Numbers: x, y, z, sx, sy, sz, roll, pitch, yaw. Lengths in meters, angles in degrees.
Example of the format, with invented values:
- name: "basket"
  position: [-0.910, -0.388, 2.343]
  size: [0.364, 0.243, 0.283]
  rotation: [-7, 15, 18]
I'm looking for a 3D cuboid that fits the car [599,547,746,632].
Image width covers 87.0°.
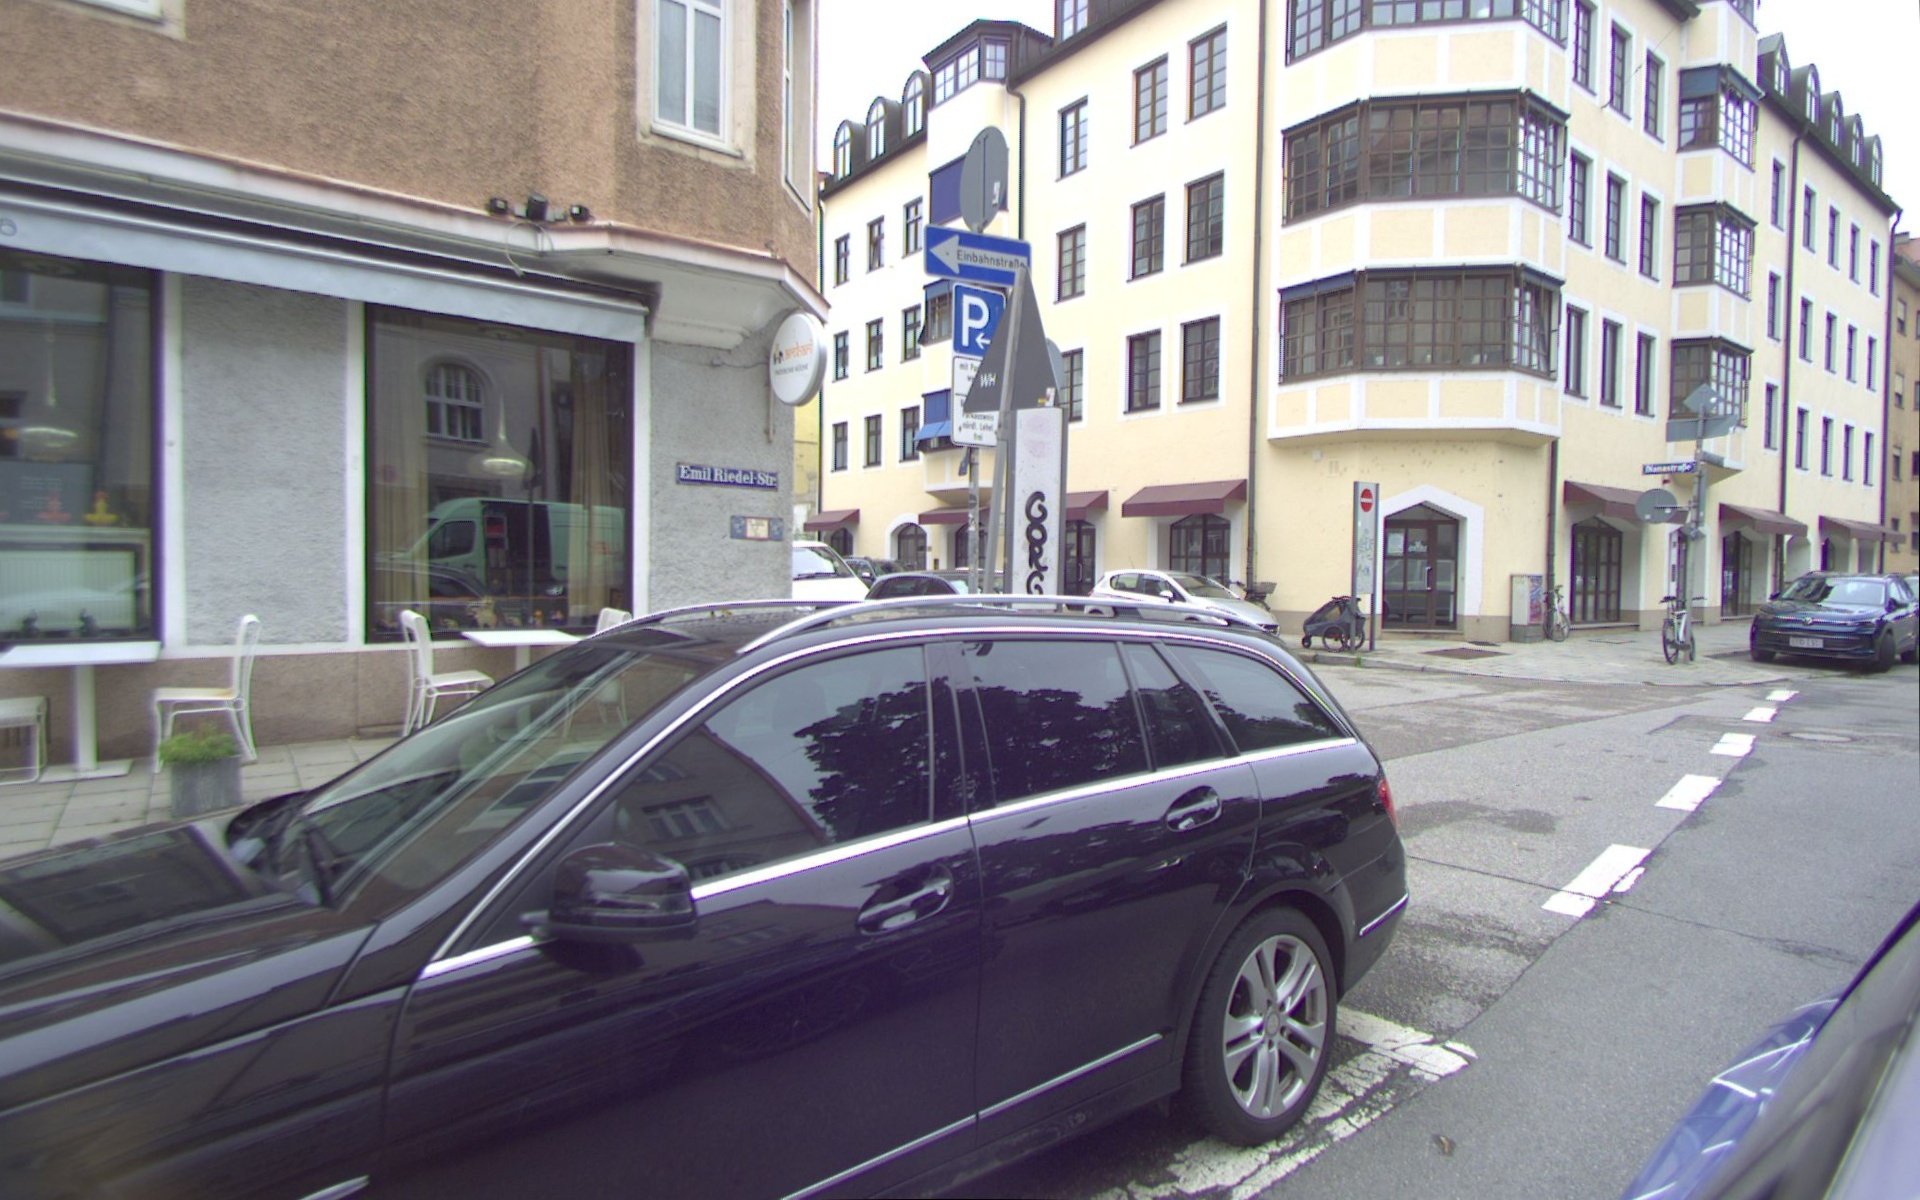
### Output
- name: "car"
  position: [-6.470, -0.315, 22.478]
  size: [1.941, 1.664, 3.999]
  rotation: [-1, 4, -35]

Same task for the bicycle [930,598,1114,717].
- name: "bicycle"
  position: [0.613, 0.513, 9.564]
  size: [1.768, 1.017, 0.497]
  rotation: [1, 3, -36]

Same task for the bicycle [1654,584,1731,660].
- name: "bicycle"
  position: [12.356, 0.340, 17.050]
  size: [2.015, 1.173, 0.431]
  rotation: [-2, 4, -37]

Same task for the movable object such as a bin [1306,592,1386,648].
- name: "movable object such as a bin"
  position: [6.787, 0.333, 17.819]
  size: [0.671, 0.911, 1.126]
  rotation: [-1, 3, -36]

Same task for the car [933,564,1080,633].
- name: "car"
  position: [0.981, -0.103, 22.991]
  size: [1.608, 1.353, 3.458]
  rotation: [-1, 4, -34]

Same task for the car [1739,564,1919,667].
- name: "car"
  position: [16.252, 0.192, 18.491]
  size: [4.414, 1.642, 2.113]
  rotation: [-1, 2, -37]

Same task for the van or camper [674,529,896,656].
- name: "van or camper"
  position: [-3.286, -0.250, 18.099]
  size: [1.925, 1.942, 4.916]
  rotation: [-3, 4, -36]

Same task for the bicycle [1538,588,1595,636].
- name: "bicycle"
  position: [12.325, 0.226, 20.548]
  size: [1.663, 0.912, 0.263]
  rotation: [-1, 7, -36]

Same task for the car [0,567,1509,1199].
- name: "car"
  position: [-0.551, 0.633, 2.719]
  size: [4.701, 1.422, 1.852]
  rotation: [-1, 2, -38]

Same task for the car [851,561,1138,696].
- name: "car"
  position: [0.320, 0.249, 13.617]
  size: [1.857, 1.506, 3.885]
  rotation: [-1, 3, -37]

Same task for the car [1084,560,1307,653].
- name: "car"
  position: [4.174, 0.071, 18.460]
  size: [1.717, 1.458, 3.749]
  rotation: [3, 1, -33]

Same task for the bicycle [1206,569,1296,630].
- name: "bicycle"
  position: [6.128, -0.029, 21.403]
  size: [0.506, 1.201, 1.906]
  rotation: [0, 2, -36]

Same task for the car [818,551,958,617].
- name: "car"
  position: [-2.005, -0.487, 27.020]
  size: [1.947, 1.603, 4.030]
  rotation: [-1, 3, -35]

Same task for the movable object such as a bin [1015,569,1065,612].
- name: "movable object such as a bin"
  position: [2.125, -0.267, 26.986]
  size: [0.753, 1.094, 1.126]
  rotation: [-1, 3, -36]

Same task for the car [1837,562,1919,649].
- name: "car"
  position: [20.496, 0.083, 21.404]
  size: [4.084, 1.607, 1.822]
  rotation: [-1, 7, -34]
